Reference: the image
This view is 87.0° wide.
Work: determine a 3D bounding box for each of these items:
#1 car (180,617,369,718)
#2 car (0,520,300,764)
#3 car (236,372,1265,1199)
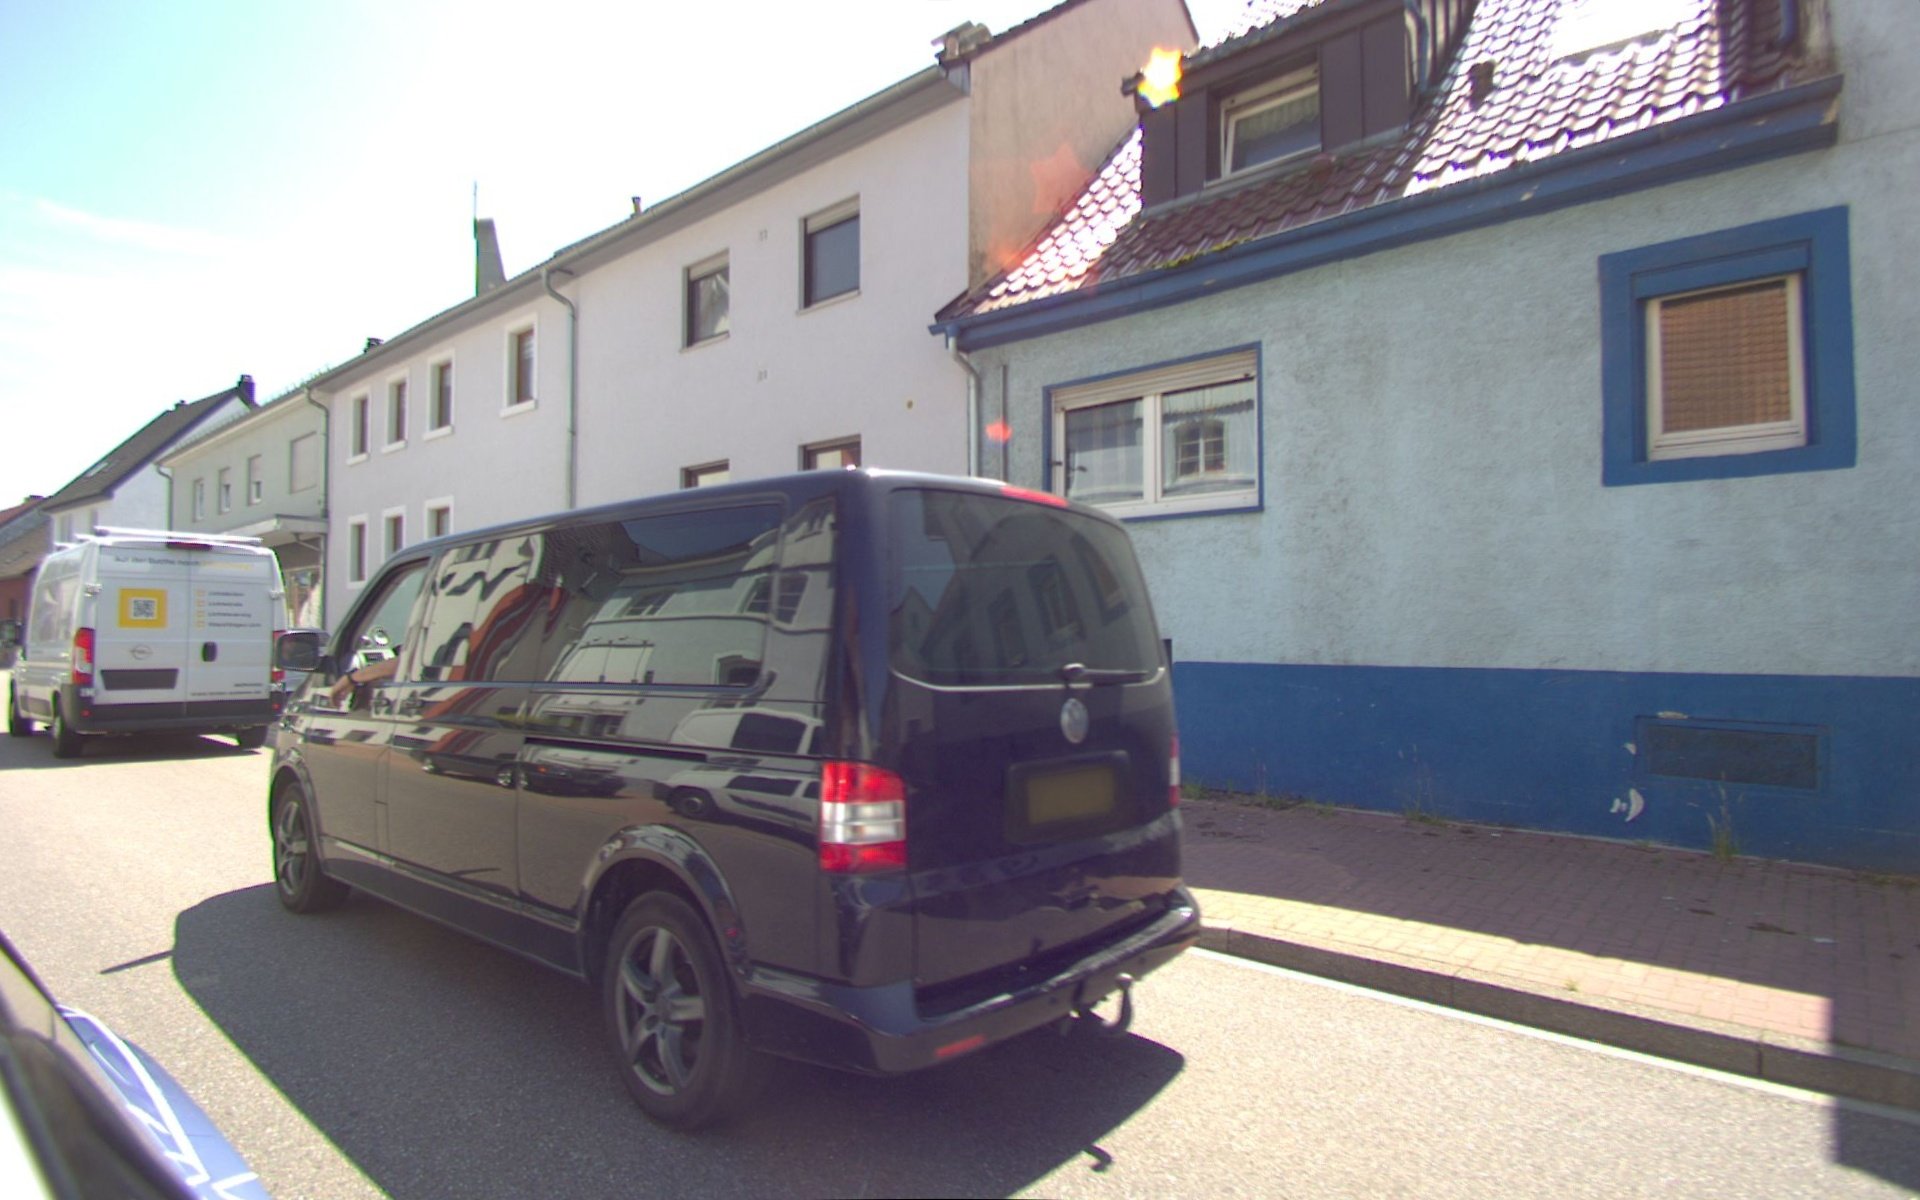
[{"bbox_3d":[-12.608,1.145,18.487,4.563,1.569,1.789,-2,0,42],"label":"car"},{"bbox_3d":[-10.796,0.539,13.208,5.457,2.562,2.103,-2,-4,40],"label":"car"},{"bbox_3d":[-1.437,0.565,4.601,5.115,1.958,1.861,-2,-3,41],"label":"car"}]
